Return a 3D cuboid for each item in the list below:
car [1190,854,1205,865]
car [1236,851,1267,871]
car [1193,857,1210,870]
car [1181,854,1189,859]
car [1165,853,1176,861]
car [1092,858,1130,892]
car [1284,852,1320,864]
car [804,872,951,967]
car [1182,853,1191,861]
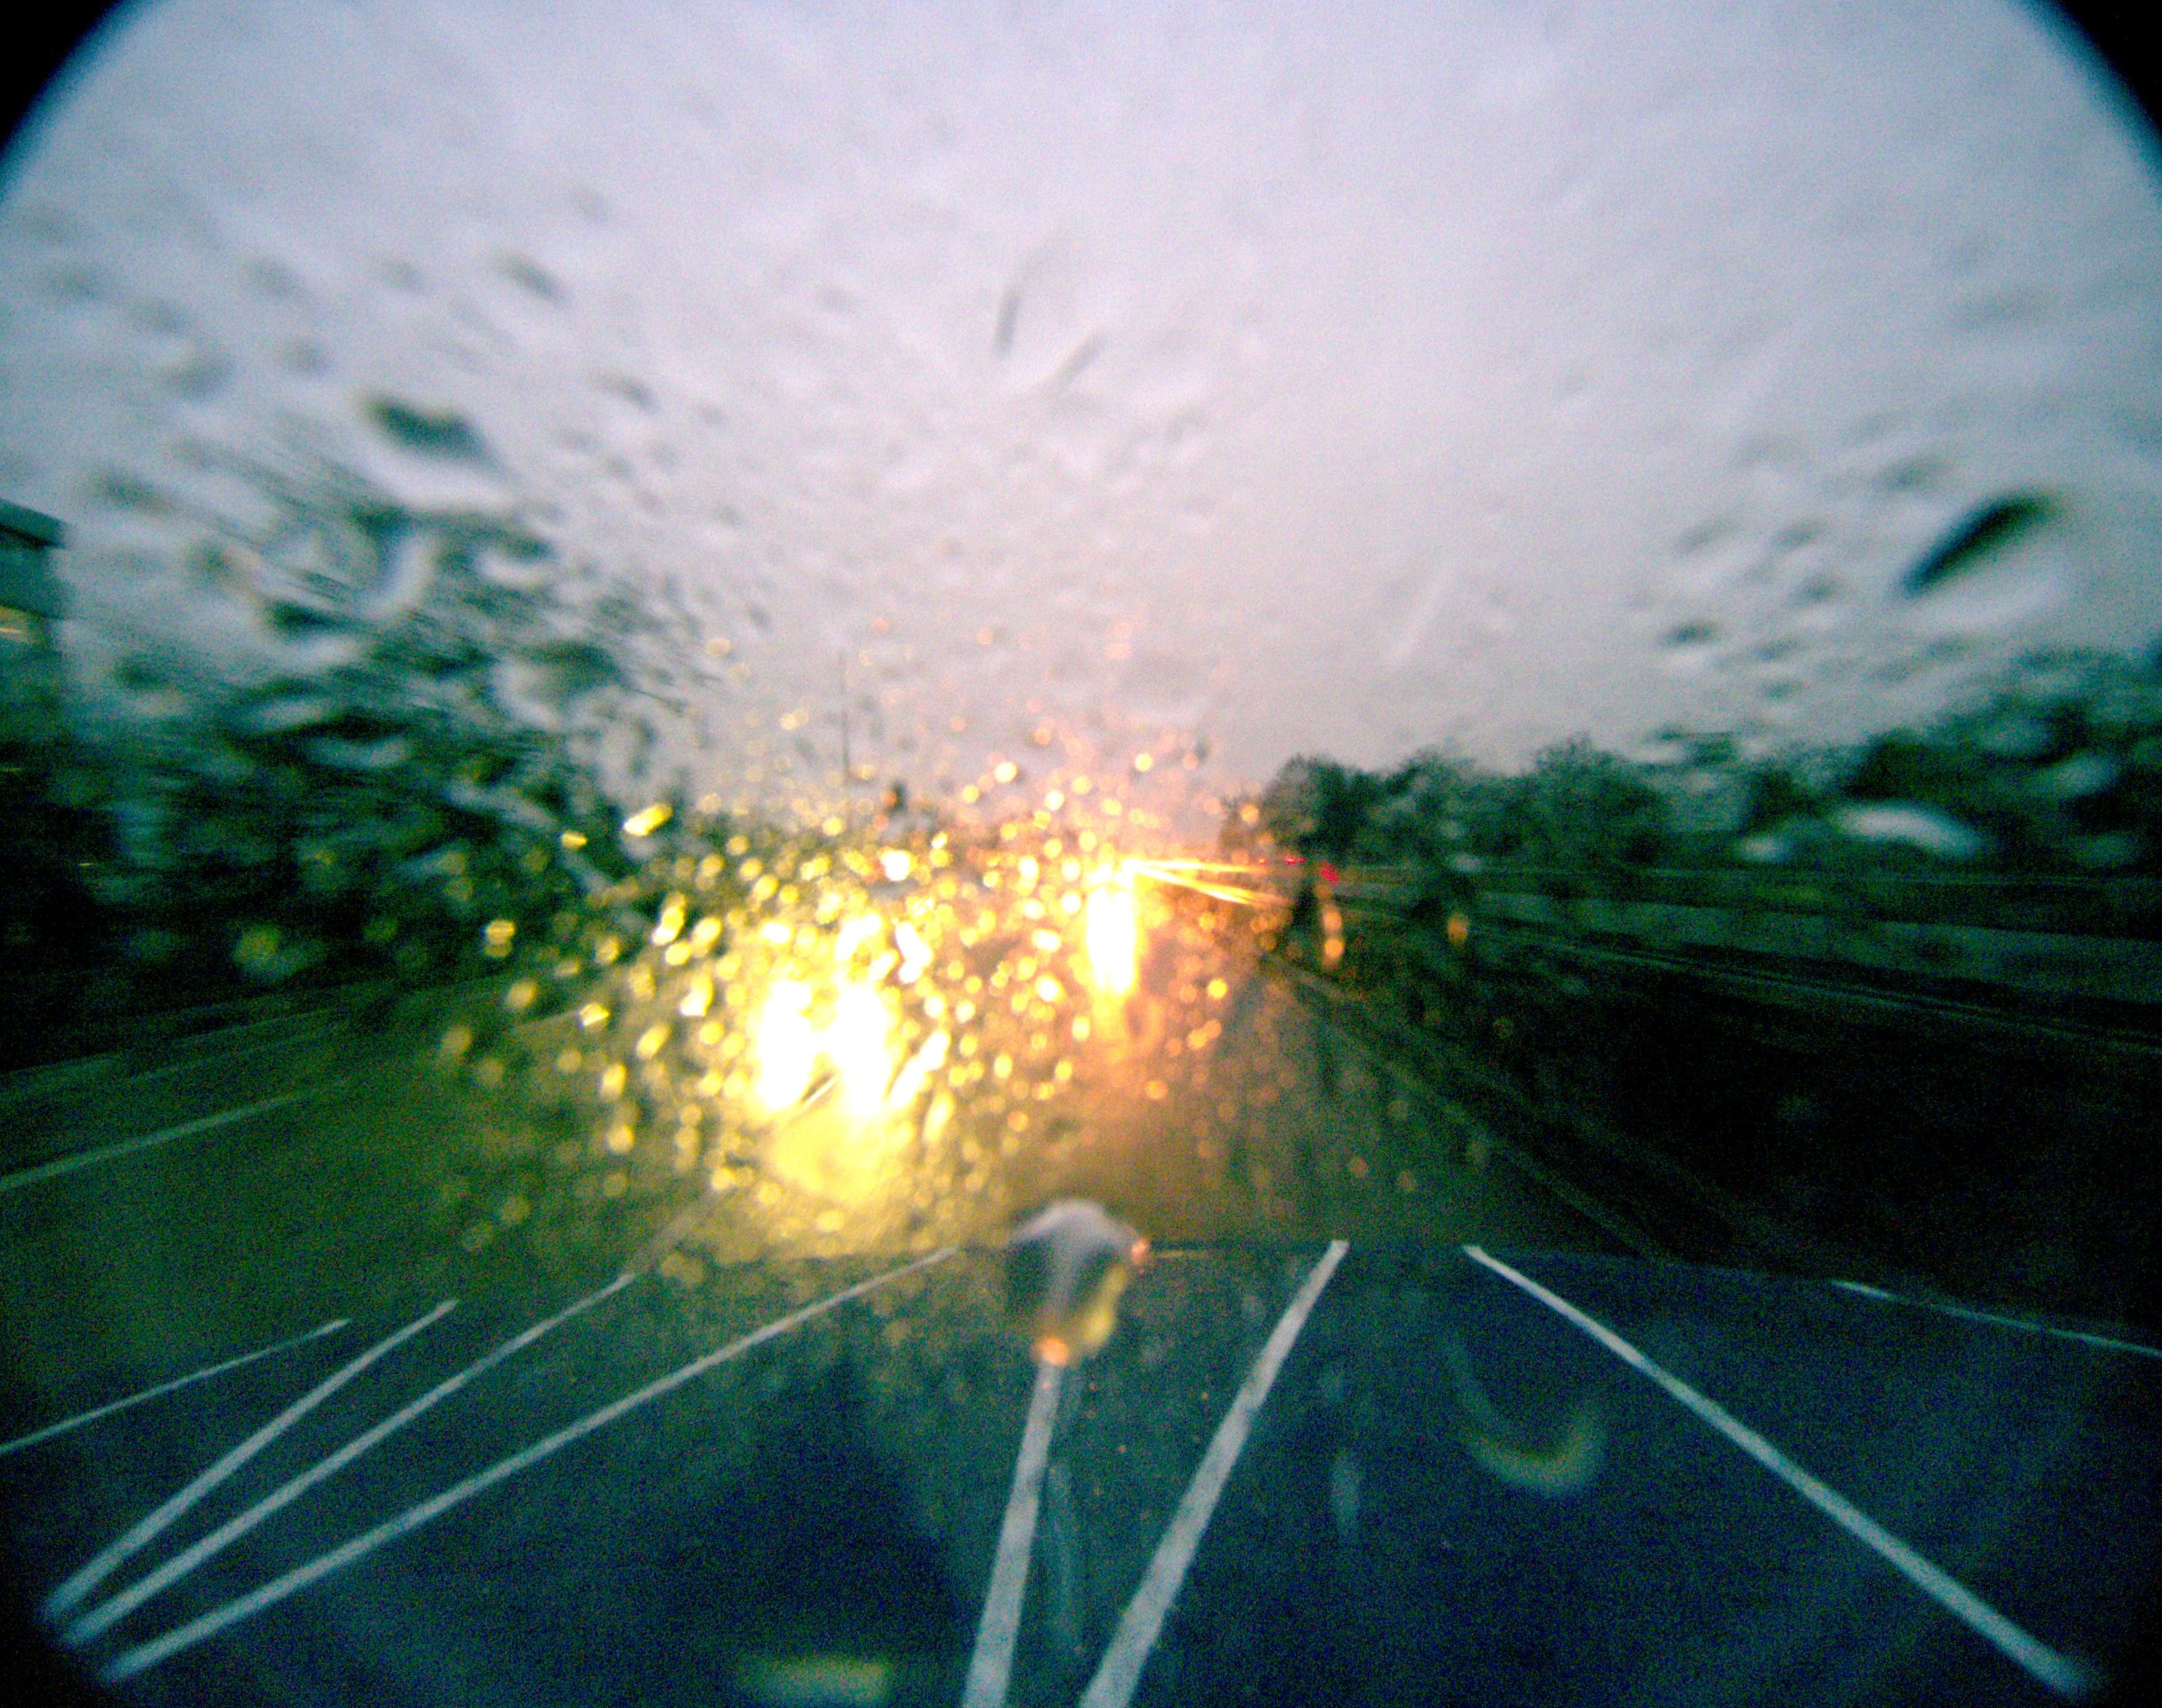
[{"bbox_3d":[19.092,0.910,124.358,1.870,1.618,4.646,-2,0,3],"label":"car"},{"bbox_3d":[13.580,0.537,60.750,1.701,1.433,3.682,-2,0,1],"label":"car"},{"bbox_3d":[16.666,1.282,105.259,1.870,1.618,4.780,-2,0,3],"label":"car"},{"bbox_3d":[29.790,0.745,218.326,1.998,1.505,4.285,-2,0,6],"label":"car"},{"bbox_3d":[18.296,0.601,155.398,1.870,1.441,4.646,-2,0,3],"label":"car"},{"bbox_3d":[1.462,1.013,37.711,1.758,1.521,4.000,-2,0,2],"label":"car"},{"bbox_3d":[22.803,0.460,78.427,1.803,1.155,3.995,-2,0,-13],"label":"car"},{"bbox_3d":[-3.689,1.129,14.543,1.595,1.445,4.177,-2,-1,1],"label":"car"},{"bbox_3d":[23.048,0.667,166.177,1.730,1.598,4.180,-2,0,4],"label":"car"}]
